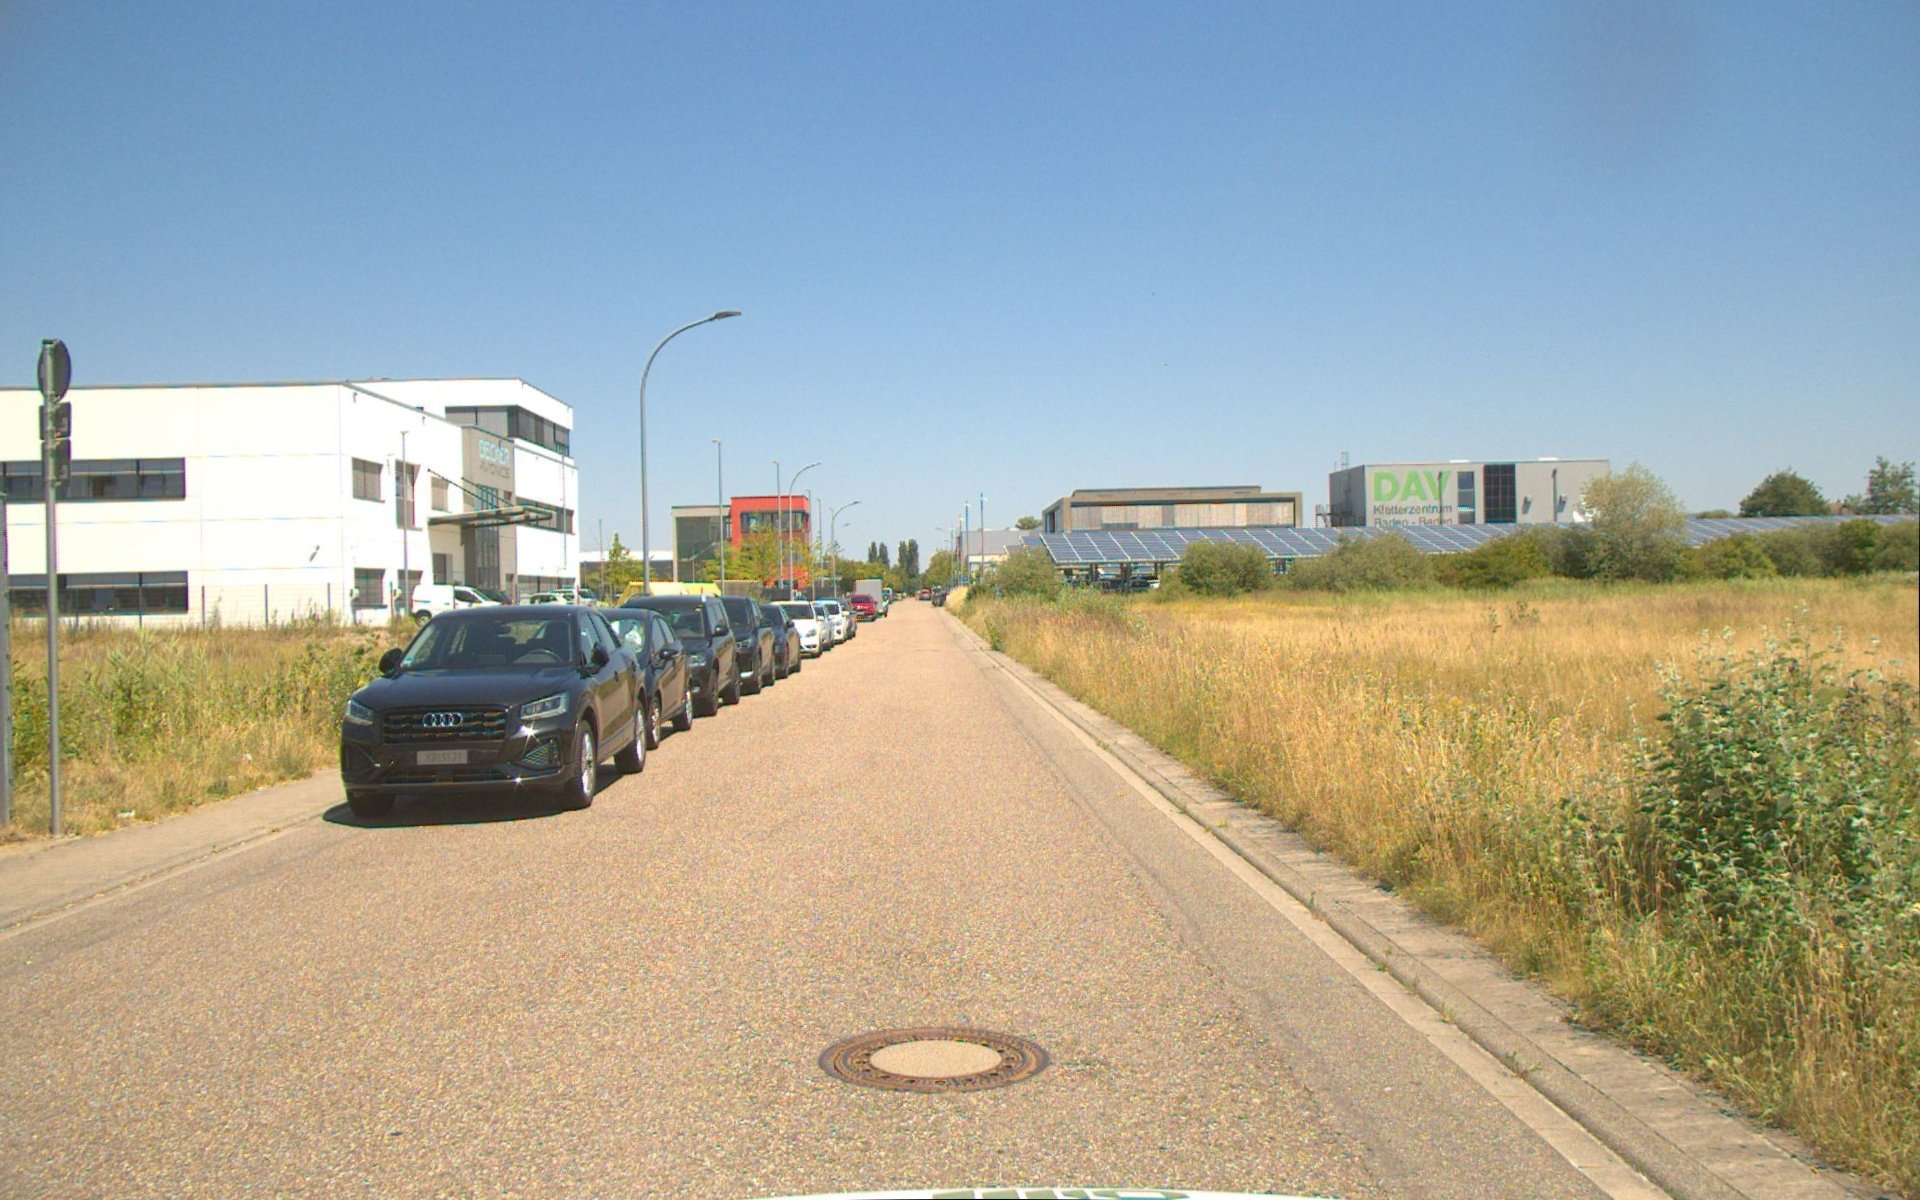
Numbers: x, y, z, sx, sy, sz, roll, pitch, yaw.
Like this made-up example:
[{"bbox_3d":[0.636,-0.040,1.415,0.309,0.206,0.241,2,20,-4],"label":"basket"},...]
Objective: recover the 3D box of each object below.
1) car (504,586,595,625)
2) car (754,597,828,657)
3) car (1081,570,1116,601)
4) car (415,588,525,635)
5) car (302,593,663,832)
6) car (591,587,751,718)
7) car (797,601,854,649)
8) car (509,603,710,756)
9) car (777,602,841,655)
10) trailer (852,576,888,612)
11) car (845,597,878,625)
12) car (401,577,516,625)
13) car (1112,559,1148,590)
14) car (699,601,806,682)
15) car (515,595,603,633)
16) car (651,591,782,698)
[{"bbox_3d":[-22.580,0.289,91.078,4.436,1.977,2.031,-2,0,-1],"label":"car"},{"bbox_3d":[-4.766,0.735,47.129,1.751,1.547,3.981,-2,0,-2],"label":"car"},{"bbox_3d":[9.639,-0.977,115.390,1.953,2.049,3.999,-2,0,-2],"label":"car"},{"bbox_3d":[-22.617,0.515,76.434,4.436,1.977,2.031,-2,0,-1],"label":"car"},{"bbox_3d":[-3.698,0.772,13.622,1.888,1.595,4.187,-2,0,-3],"label":"car"},{"bbox_3d":[-4.116,0.686,24.146,1.643,1.692,4.235,-2,0,-2],"label":"car"},{"bbox_3d":[-4.746,0.853,58.668,1.751,1.547,3.981,-2,0,-2],"label":"car"},{"bbox_3d":[-3.943,0.830,19.165,1.558,1.518,3.831,-2,0,-2],"label":"car"},{"bbox_3d":[-4.799,0.894,53.052,1.751,1.547,3.981,-2,0,-2],"label":"car"},{"bbox_3d":[-5.829,-0.377,107.405,2.156,2.175,4.284,-2,0,-2],"label":"trailer"},{"bbox_3d":[-5.671,0.634,95.713,1.751,1.547,3.981,-2,0,-2],"label":"car"},{"bbox_3d":[-22.193,0.050,73.364,4.436,1.977,2.031,-2,0,-1],"label":"car"},{"bbox_3d":[11.828,-1.783,115.478,1.953,2.049,3.999,-2,0,-2],"label":"car"},{"bbox_3d":[-4.334,0.821,35.246,1.733,1.512,5.013,-2,0,-2],"label":"car"},{"bbox_3d":[-22.669,0.781,93.662,4.436,1.977,2.031,-2,0,-1],"label":"car"},{"bbox_3d":[-4.248,0.721,29.518,1.733,1.692,4.551,-2,0,-2],"label":"car"}]
